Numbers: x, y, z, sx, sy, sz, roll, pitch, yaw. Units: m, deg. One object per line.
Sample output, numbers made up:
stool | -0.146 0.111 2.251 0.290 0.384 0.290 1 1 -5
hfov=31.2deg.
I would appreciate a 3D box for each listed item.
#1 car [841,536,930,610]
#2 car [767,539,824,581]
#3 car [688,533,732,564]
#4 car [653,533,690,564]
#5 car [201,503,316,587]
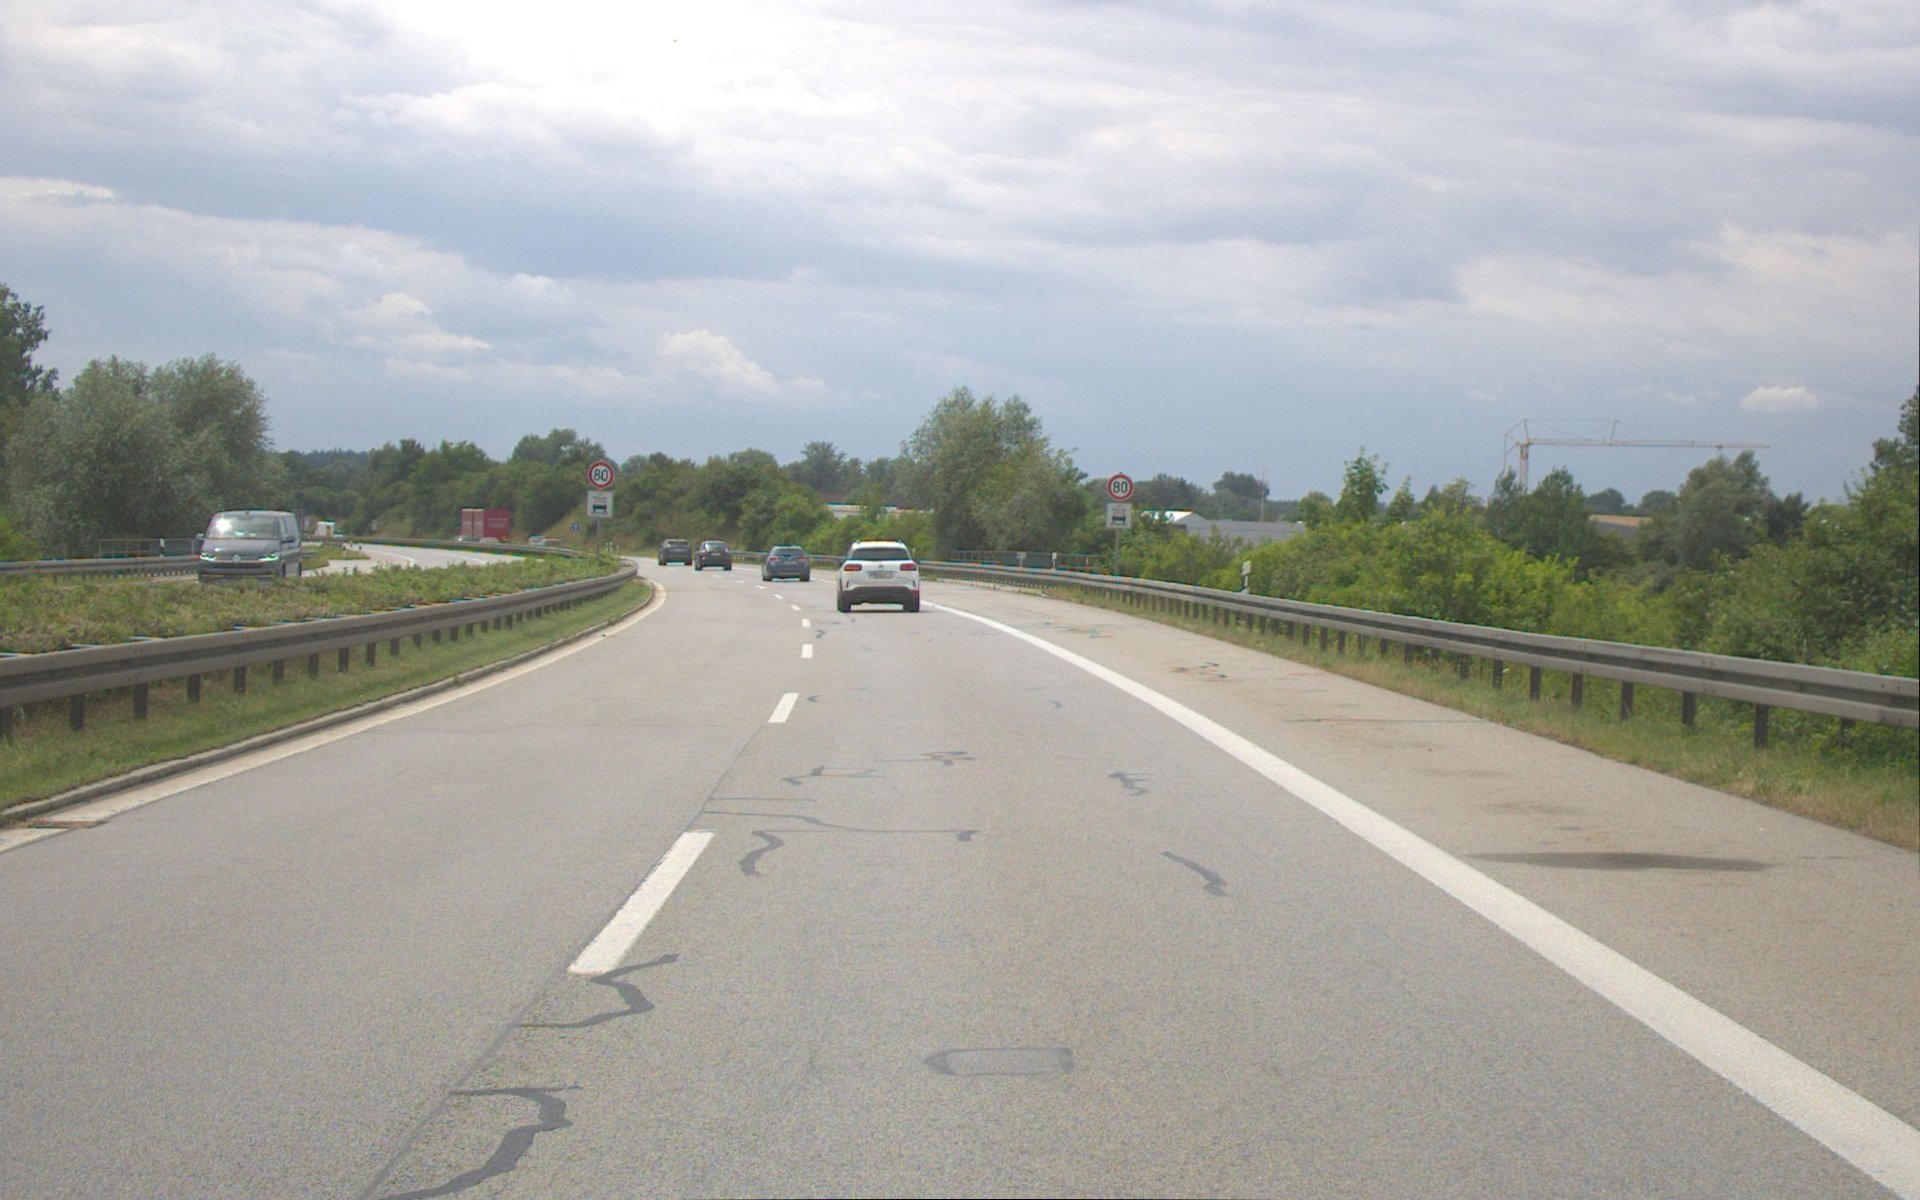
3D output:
car | -1.785 -0.668 81.226 1.902 1.634 4.397 1 1 -3
car | -6.729 -1.648 139.941 1.892 1.634 4.623 1 1 -8
car | -13.373 -2.755 183.700 1.902 1.634 4.781 -1 1 -10
car | -17.669 -3.176 210.573 1.826 1.787 4.415 -2 2 -10
car | -16.367 -1.288 80.446 1.700 1.878 5.228 1 1 -1
